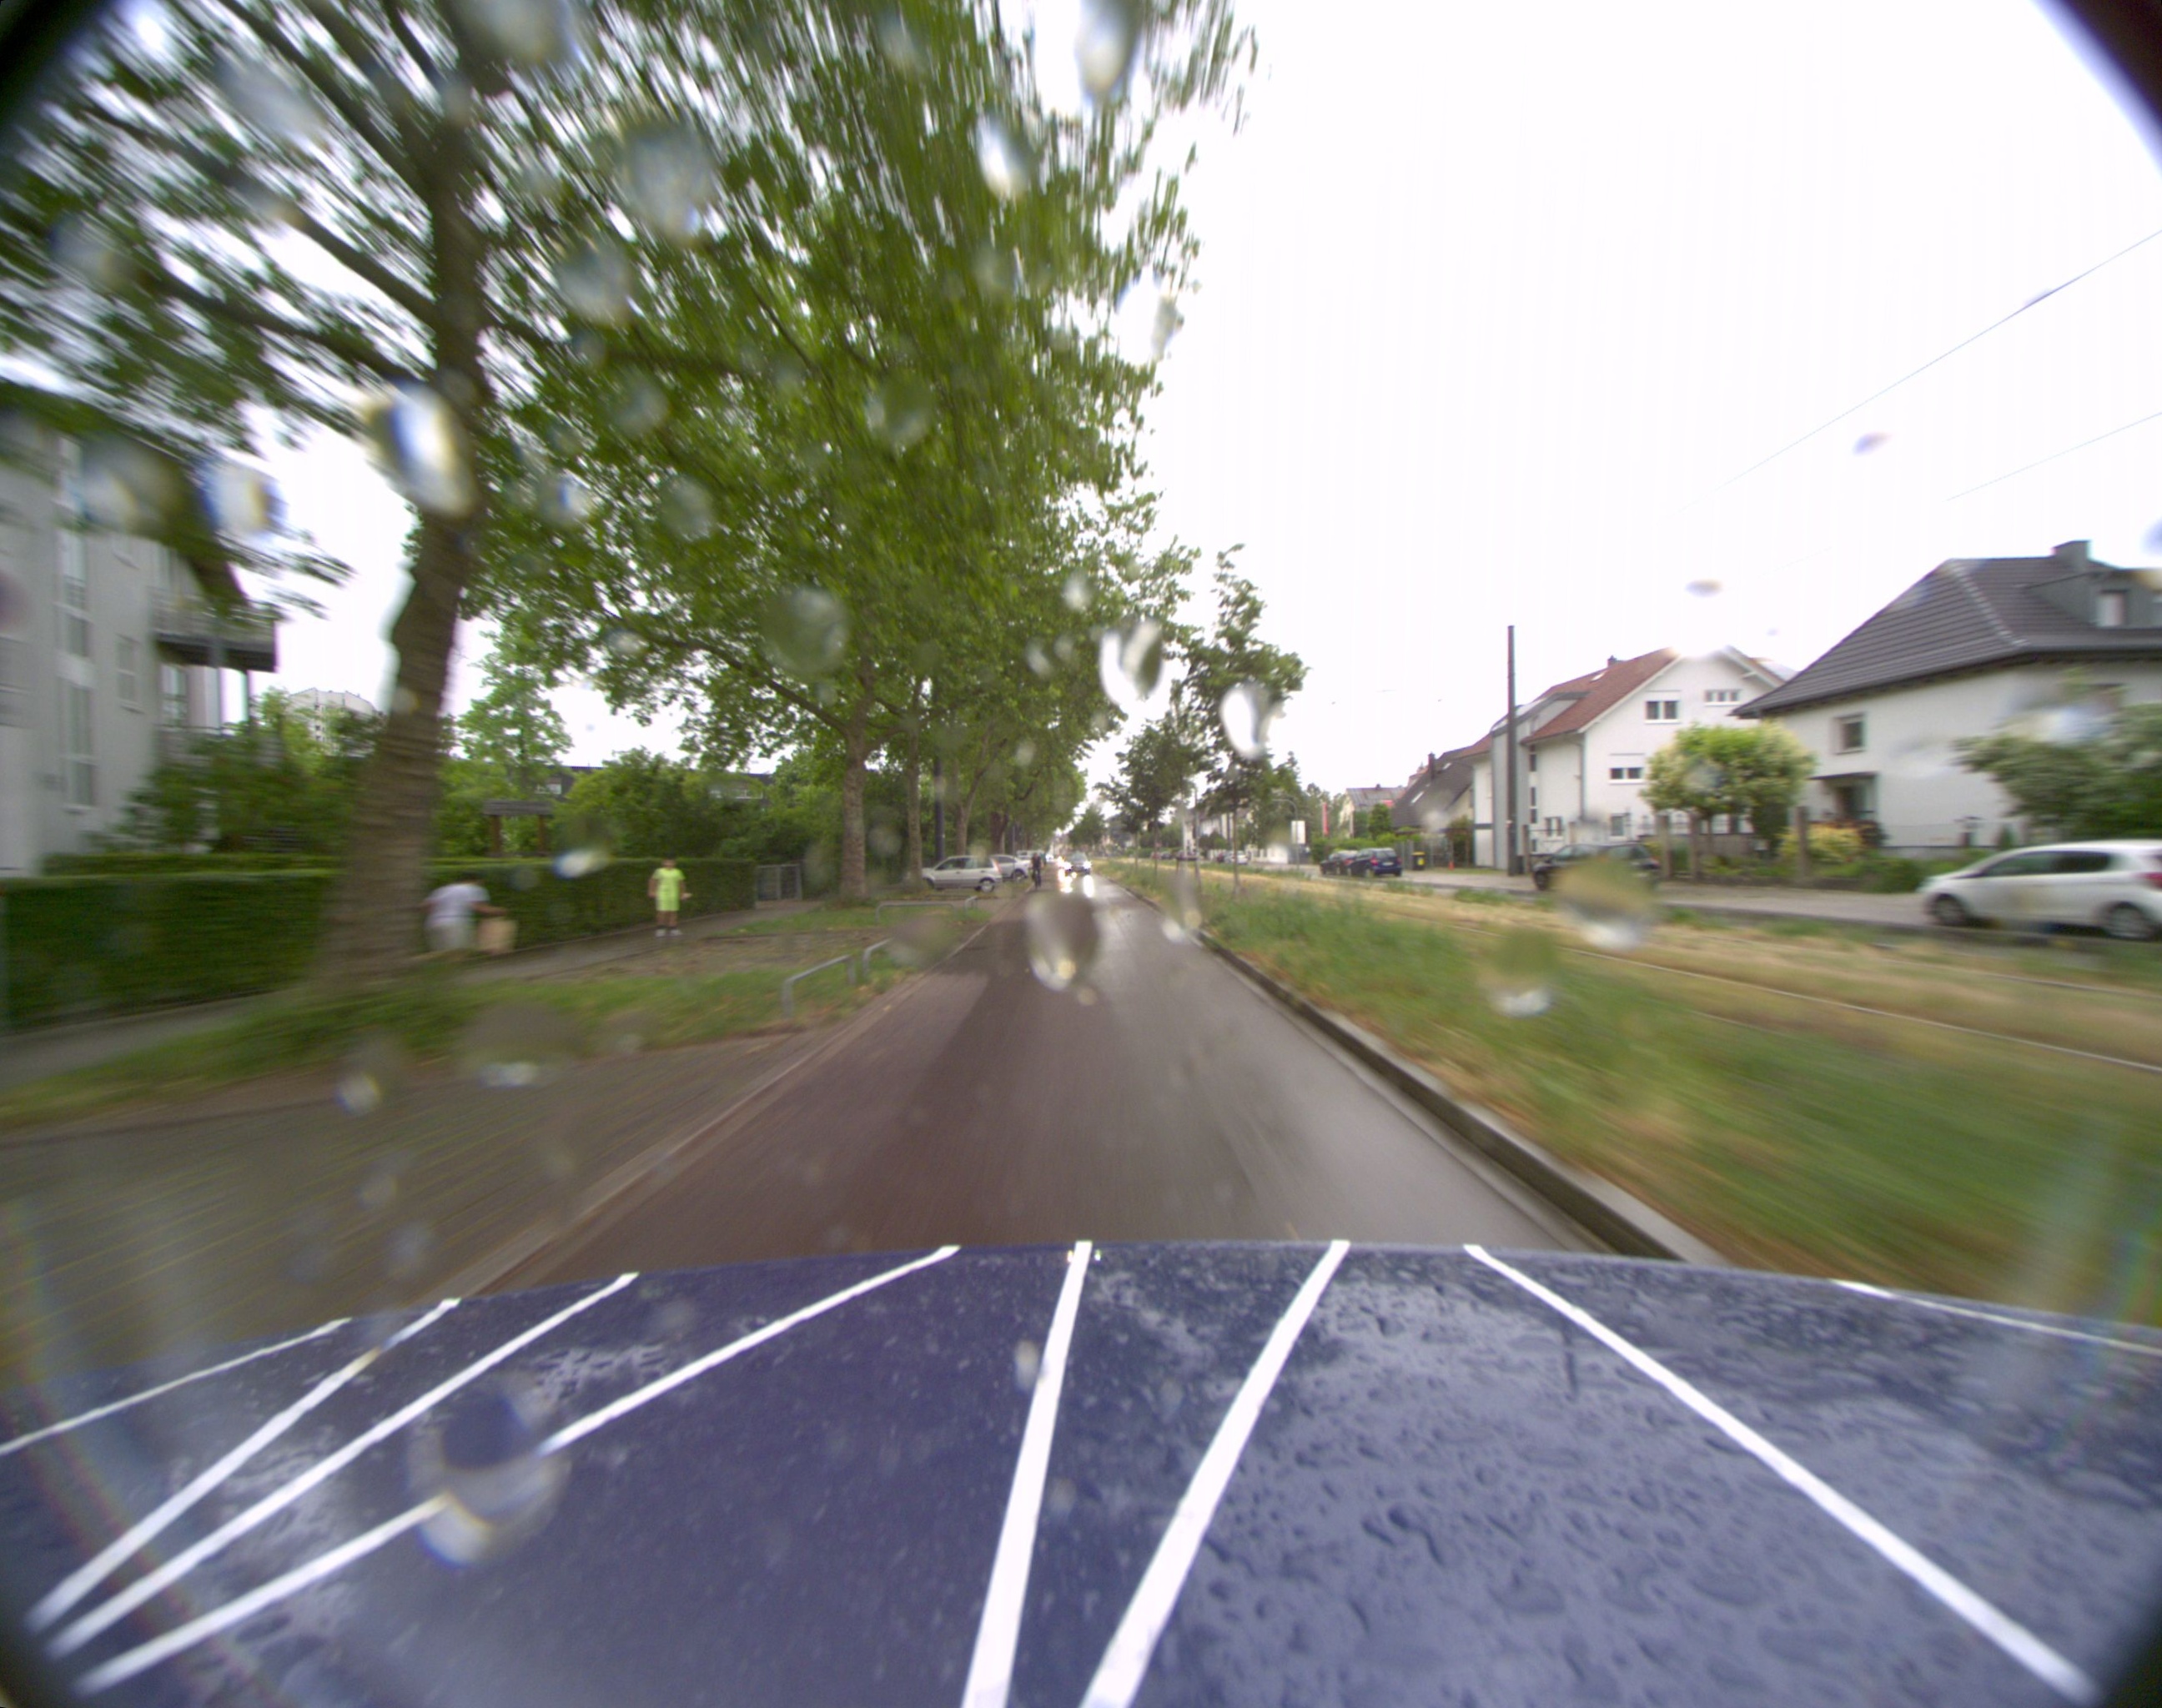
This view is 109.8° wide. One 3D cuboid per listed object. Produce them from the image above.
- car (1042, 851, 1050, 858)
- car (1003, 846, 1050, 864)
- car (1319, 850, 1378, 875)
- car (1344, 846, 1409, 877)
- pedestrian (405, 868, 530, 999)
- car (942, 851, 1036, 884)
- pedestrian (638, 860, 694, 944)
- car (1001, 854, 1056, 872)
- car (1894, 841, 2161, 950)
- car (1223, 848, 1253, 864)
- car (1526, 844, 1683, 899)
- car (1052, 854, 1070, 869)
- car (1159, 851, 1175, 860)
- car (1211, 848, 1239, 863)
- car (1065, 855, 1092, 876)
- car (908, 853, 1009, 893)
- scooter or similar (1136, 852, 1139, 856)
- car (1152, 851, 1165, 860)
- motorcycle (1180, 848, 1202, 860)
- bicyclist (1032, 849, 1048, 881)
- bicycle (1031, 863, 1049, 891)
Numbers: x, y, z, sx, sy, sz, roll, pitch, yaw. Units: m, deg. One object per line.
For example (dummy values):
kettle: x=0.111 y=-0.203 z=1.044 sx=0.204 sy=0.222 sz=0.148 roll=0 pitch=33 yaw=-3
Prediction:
car: x=-8.459 y=0.087 z=182.239 sx=1.781 sy=1.477 sz=3.999 roll=1 pitch=0 yaw=-3
car: x=-6.171 y=0.122 z=86.549 sx=5.040 sy=2.001 sz=1.995 roll=0 pitch=-1 yaw=-36
car: x=16.149 y=0.465 z=46.090 sx=1.998 sy=1.343 sz=4.240 roll=-3 pitch=0 yaw=0
car: x=16.078 y=0.396 z=41.568 sx=1.879 sy=1.541 sz=3.869 roll=-3 pitch=0 yaw=-1
pedestrian: x=-7.582 y=0.951 z=9.439 sx=0.835 sy=1.529 sz=0.859 roll=0 pitch=1 yaw=-5
car: x=-5.072 y=0.696 z=42.216 sx=4.784 sy=1.658 sz=1.989 roll=-1 pitch=1 yaw=-38
pedestrian: x=-7.982 y=0.902 z=14.639 sx=0.558 sy=1.529 sz=0.966 roll=-1 pitch=1 yaw=-5
car: x=-4.702 y=0.808 z=67.983 sx=4.569 sy=1.535 sz=1.883 roll=2 pitch=-1 yaw=-33
car: x=16.345 y=0.580 z=12.607 sx=1.800 sy=1.480 sz=3.596 roll=-3 pitch=0 yaw=0
car: x=15.522 y=0.187 z=75.312 sx=1.999 sy=1.402 sz=3.970 roll=-3 pitch=0 yaw=-2
car: x=16.375 y=0.502 z=24.076 sx=1.998 sy=1.507 sz=4.205 roll=-3 pitch=0 yaw=0
car: x=-2.126 y=0.758 z=80.227 sx=1.781 sy=1.477 sz=3.999 roll=1 pitch=0 yaw=-3
car: x=14.049 y=0.222 z=123.990 sx=1.998 sy=1.402 sz=4.761 roll=-3 pitch=0 yaw=0
car: x=15.222 y=0.139 z=80.578 sx=1.998 sy=1.447 sz=4.531 roll=-3 pitch=0 yaw=0
car: x=-0.224 y=0.832 z=55.600 sx=1.781 sy=1.477 sz=3.999 roll=1 pitch=0 yaw=-3
car: x=-5.042 y=0.762 z=31.215 sx=3.871 sy=1.557 sz=1.616 roll=0 pitch=0 yaw=-19
scooter or similar: x=13.118 y=0.004 z=175.648 sx=0.347 sy=0.905 sz=1.258 roll=-1 pitch=0 yaw=-7
car: x=13.780 y=0.190 z=135.231 sx=1.802 sy=1.448 sz=4.000 roll=-3 pitch=0 yaw=0
motorcycle: x=14.737 y=-0.017 z=101.943 sx=2.680 sy=1.403 sz=1.269 roll=-1 pitch=2 yaw=40
bicyclist: x=-1.846 y=0.490 z=34.097 sx=0.675 sy=1.421 sz=0.753 roll=0 pitch=1 yaw=-7
bicycle: x=-1.849 y=1.015 z=34.138 sx=0.675 sy=1.136 sz=2.443 roll=0 pitch=0 yaw=-7
